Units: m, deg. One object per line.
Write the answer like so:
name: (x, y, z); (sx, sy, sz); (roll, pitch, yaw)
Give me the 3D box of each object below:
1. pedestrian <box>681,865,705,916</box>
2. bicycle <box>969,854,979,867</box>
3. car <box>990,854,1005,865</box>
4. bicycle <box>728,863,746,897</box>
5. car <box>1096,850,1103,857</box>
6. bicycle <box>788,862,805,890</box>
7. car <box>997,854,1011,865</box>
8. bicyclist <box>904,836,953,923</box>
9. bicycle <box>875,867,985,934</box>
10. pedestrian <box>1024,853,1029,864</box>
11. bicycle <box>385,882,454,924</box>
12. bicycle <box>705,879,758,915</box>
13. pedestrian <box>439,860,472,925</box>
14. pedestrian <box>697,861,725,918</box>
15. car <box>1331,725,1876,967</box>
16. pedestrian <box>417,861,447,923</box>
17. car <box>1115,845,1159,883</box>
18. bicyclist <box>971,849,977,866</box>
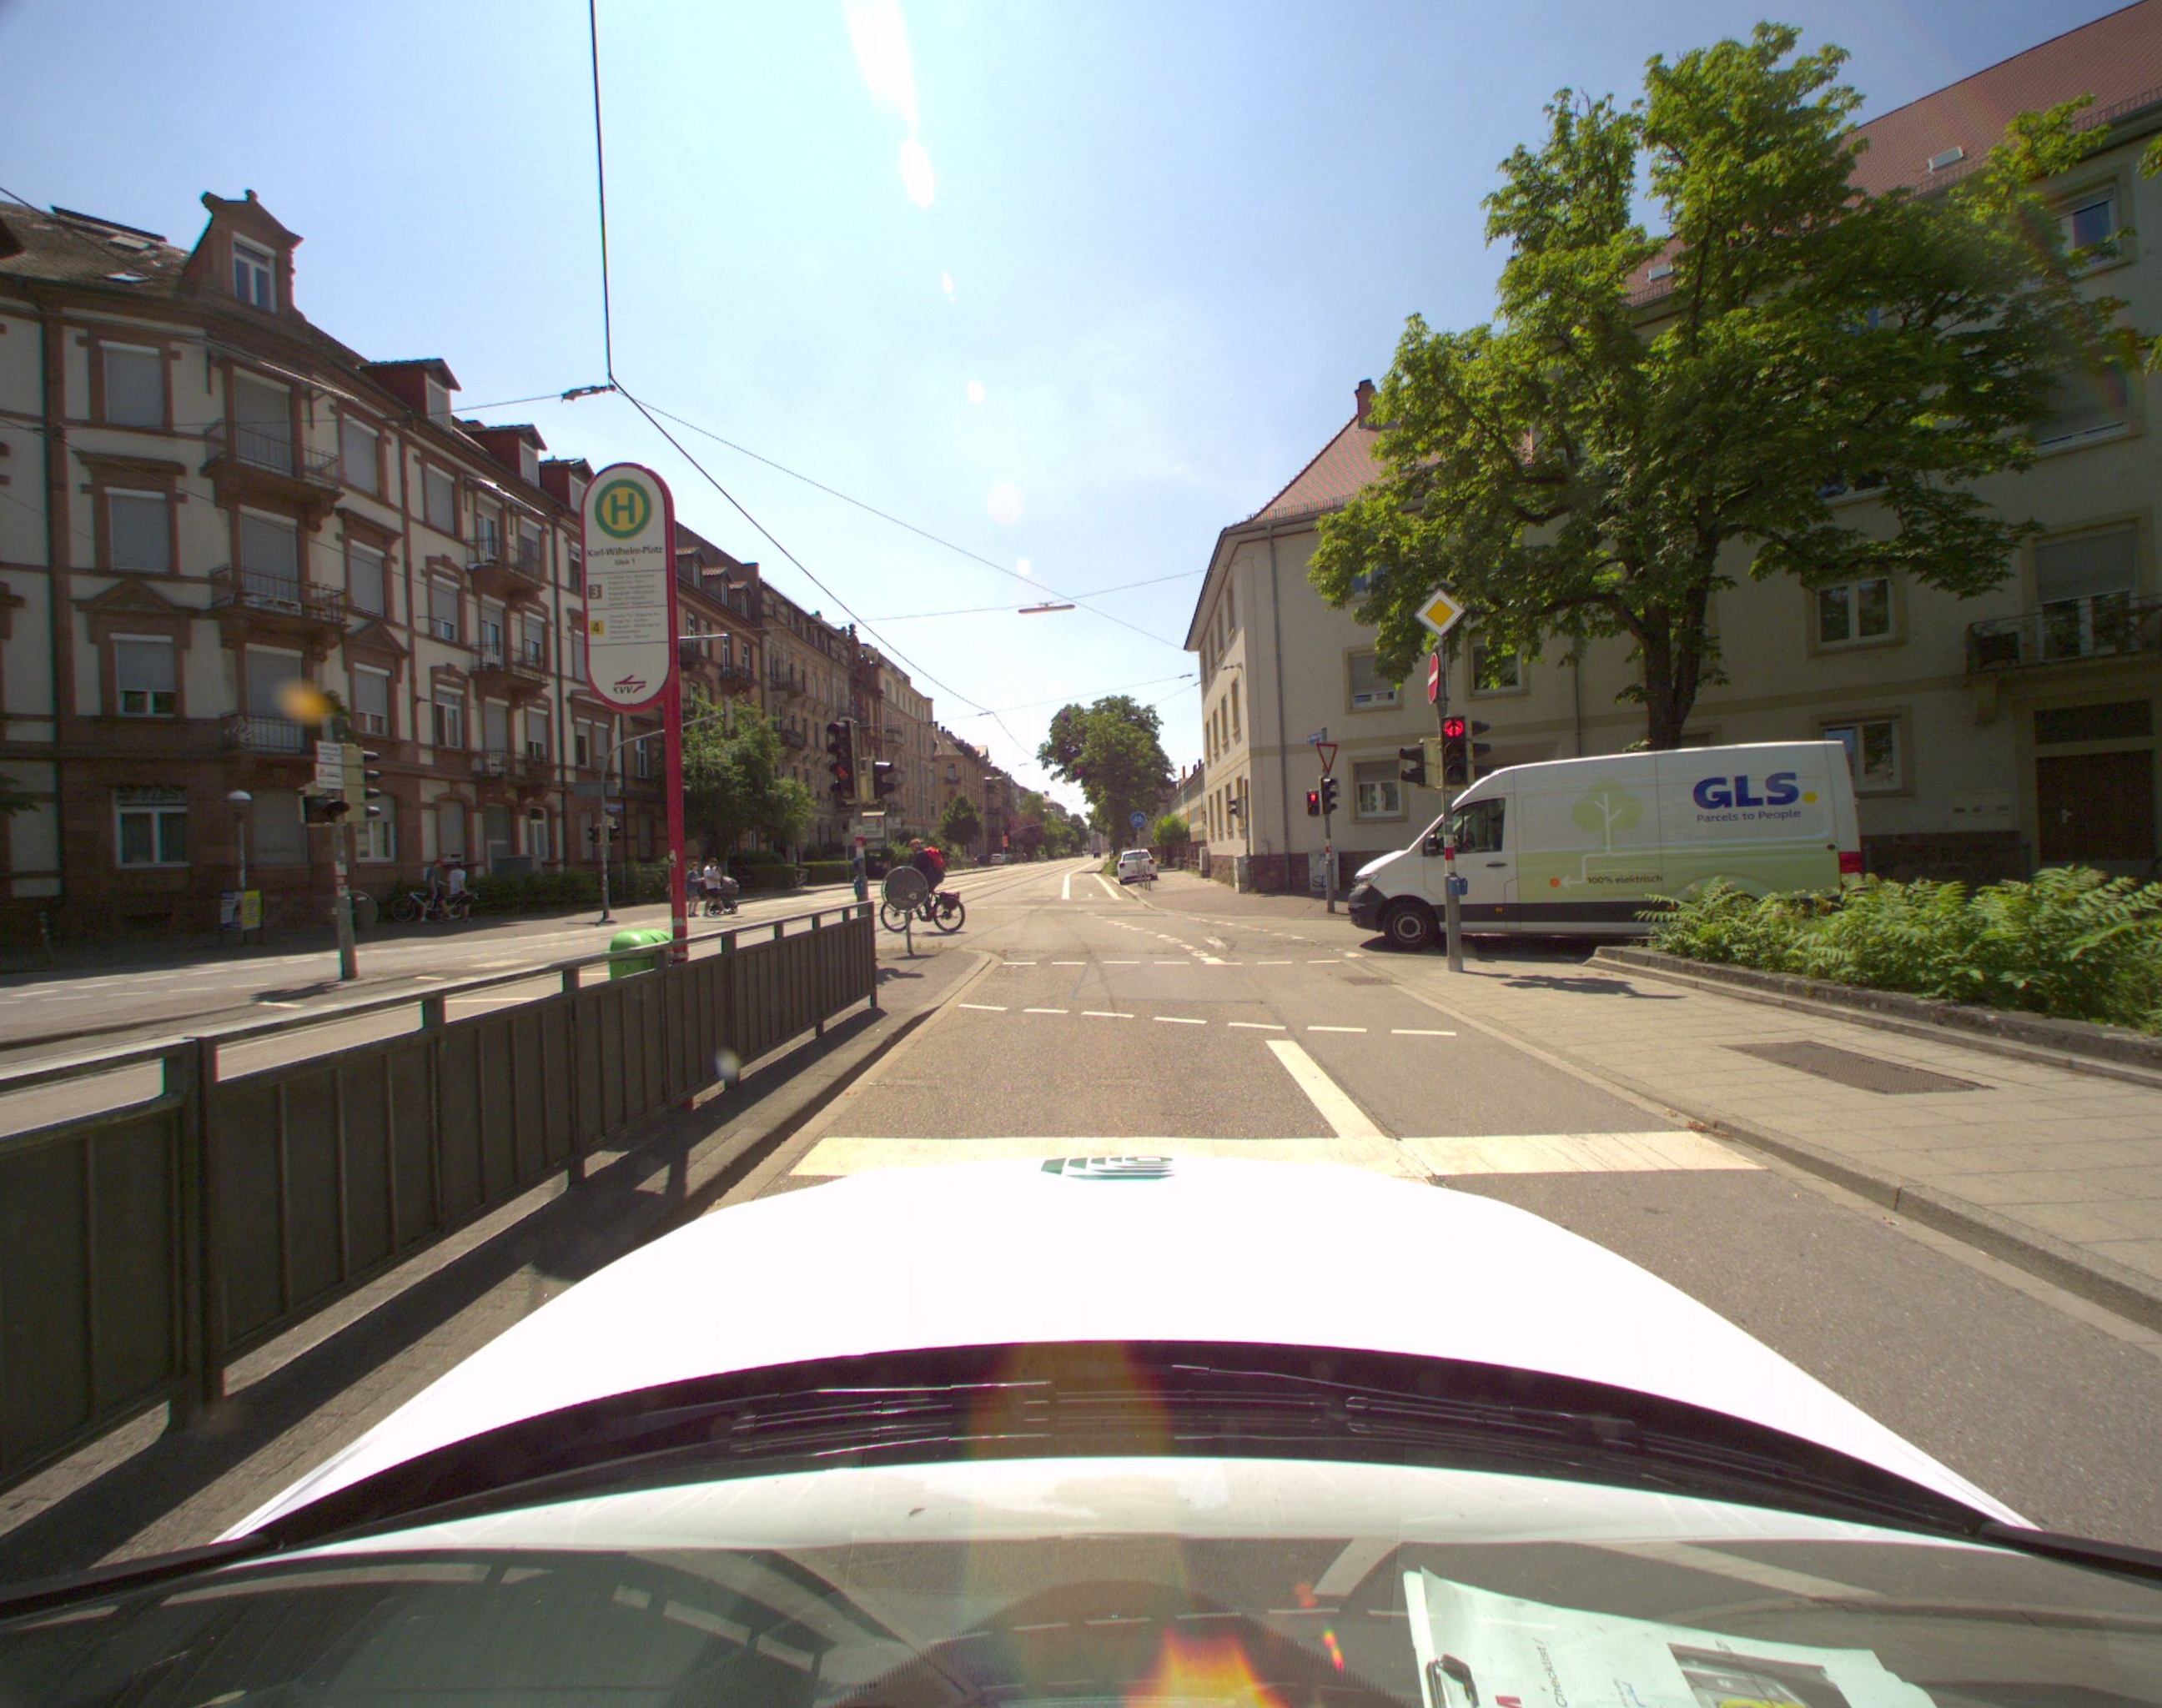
pedestrian: (-11.760, 1.091, 24.682); (0.510, 1.516, 0.464); (-1, -1, -40)
bicycle: (-11.633, 0.710, 88.644); (0.575, 1.388, 2.502); (-2, 0, 2)
car: (-11.886, 0.778, 116.093); (1.679, 1.472, 3.937); (-5, 0, 0)
bicycle: (-15.091, 1.121, 35.714); (0.617, 1.395, 2.289); (-1, 0, -24)
car: (4.174, -0.054, 185.990); (1.519, 1.444, 3.367); (-4, 0, 2)
bicycle: (-14.433, 1.094, 41.233); (0.594, 1.356, 2.420); (-1, 0, -24)
car: (-11.729, 0.802, 123.684); (1.623, 1.472, 3.563); (-5, 0, 0)
bicyclist: (-2.956, 0.481, 15.789); (0.687, 1.646, 0.583); (-2, -1, 22)
bicycle: (-2.939, 0.890, 15.793); (2.062, 1.236, 0.584); (-2, -1, 22)
pedestrian: (-8.601, 0.699, 128.506); (0.675, 1.727, 0.678); (-2, -1, 1)
bicycle: (-19.488, 1.431, 24.015); (1.522, 1.169, 0.362); (-1, 1, -25)
bicycle: (-10.611, 1.283, 24.746); (1.410, 1.013, 0.384); (-2, 0, -39)
pedestrian: (-18.064, 1.092, 23.539); (0.565, 1.825, 0.631); (-1, -1, -20)
pedestrian: (-10.780, 1.027, 23.726); (0.657, 1.615, 0.464); (-1, 2, -40)
car: (6.691, -0.029, 11.212); (5.774, 2.590, 2.013); (-2, 0, 36)
pedestrian: (-18.810, 1.087, 23.618); (0.508, 1.768, 0.525); (-1, -1, -20)
car: (2.522, 0.443, 37.259); (1.741, 1.472, 3.939); (-5, 0, 1)
bicyclist: (-11.633, 0.396, 88.599); (0.540, 1.763, 0.498); (-1, -1, 1)
